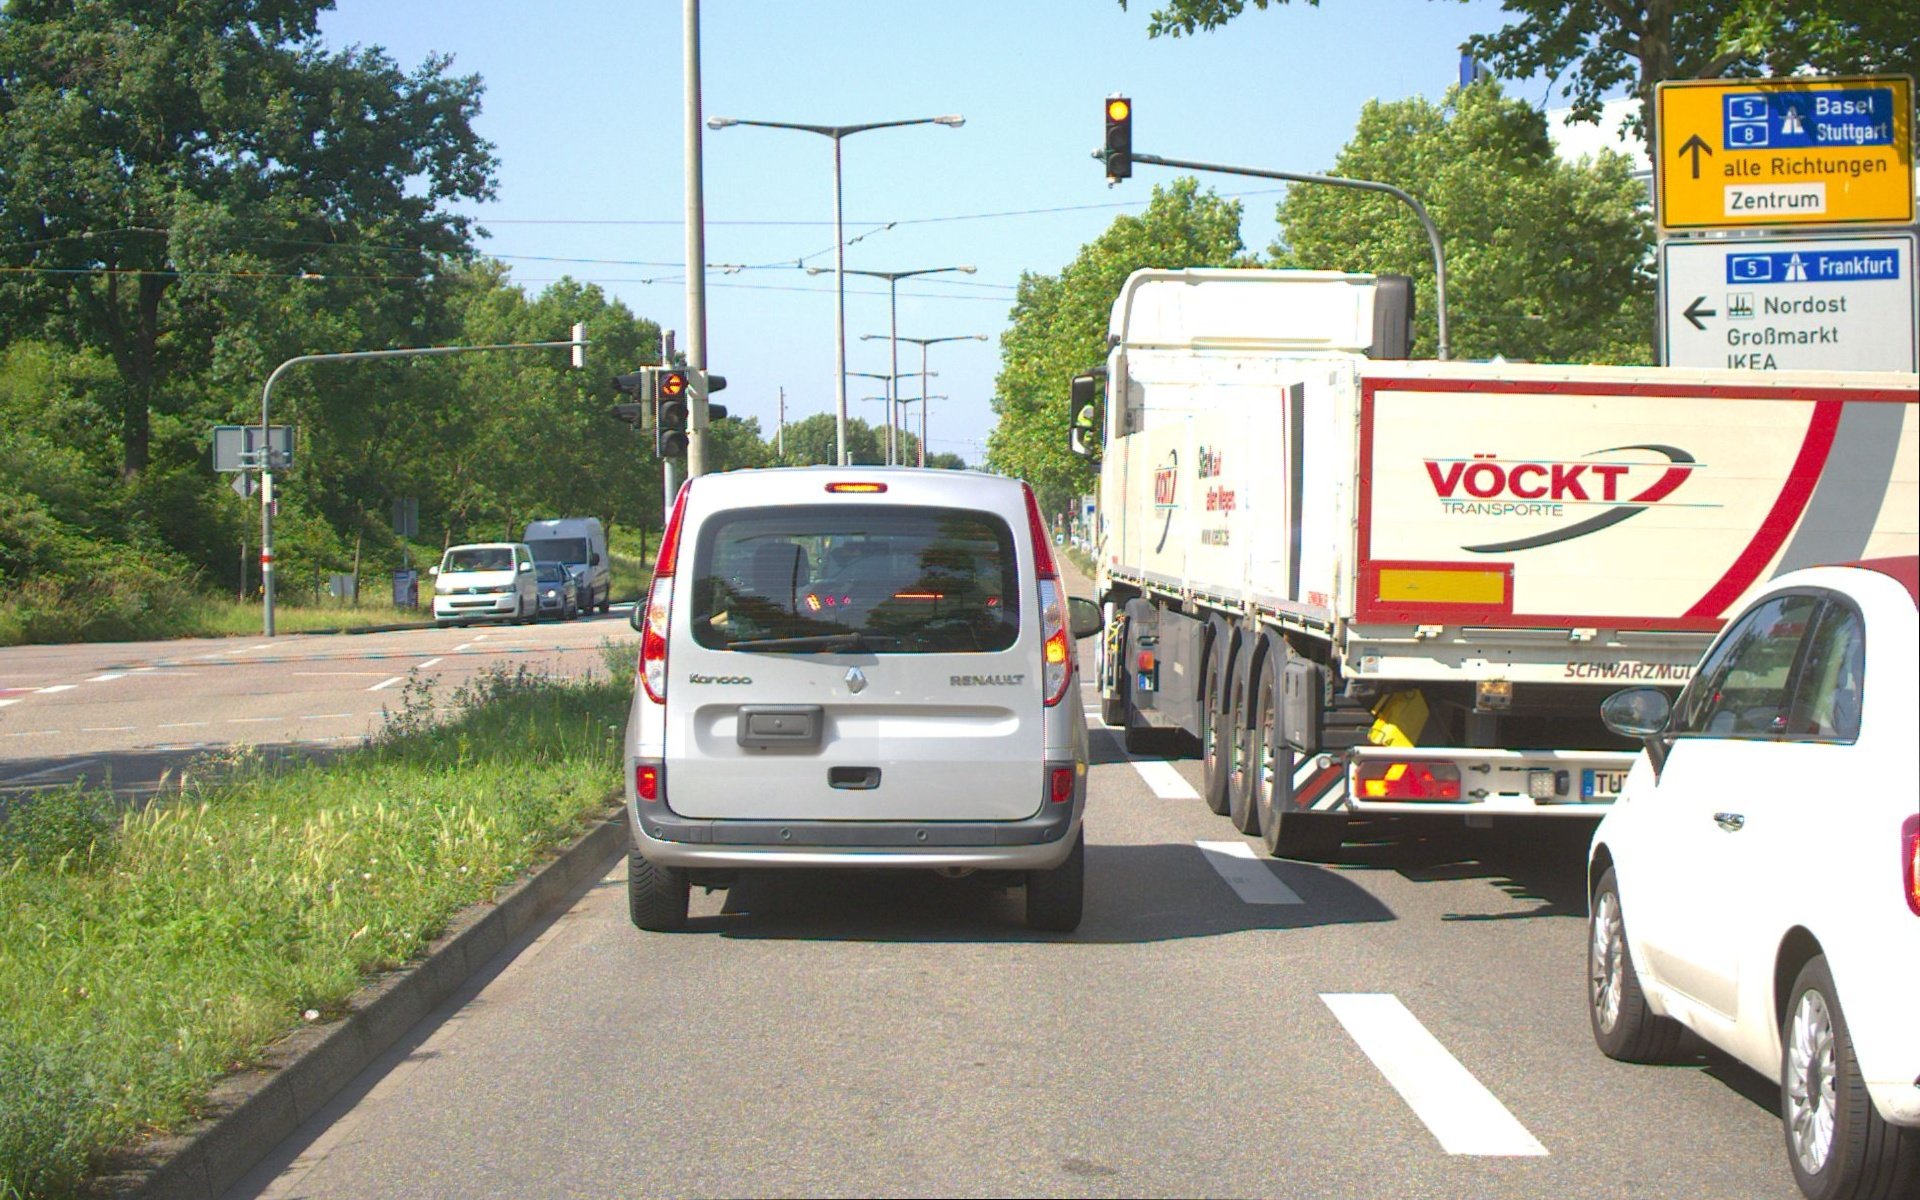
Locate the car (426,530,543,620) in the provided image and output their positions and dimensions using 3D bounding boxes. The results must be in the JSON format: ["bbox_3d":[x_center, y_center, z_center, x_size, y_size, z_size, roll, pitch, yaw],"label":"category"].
[{"bbox_3d":[-10.685,-0.582,77.549,1.993,1.884,4.988,-3,1,-1],"label":"car"}]

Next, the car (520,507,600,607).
[{"bbox_3d":[-10.807,-1.175,92.955,2.058,2.605,5.871,0,1,-7],"label":"car"}]

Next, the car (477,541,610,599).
[{"bbox_3d":[-10.399,-0.764,85.605,1.911,1.404,4.228,0,1,-27],"label":"car"}]

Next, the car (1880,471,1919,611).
[{"bbox_3d":[13.258,-0.688,41.317,3.987,1.656,1.723,0,1,5],"label":"car"}]

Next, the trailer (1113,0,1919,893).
[{"bbox_3d":[2.694,-0.818,19.371,3.016,3.728,12.240,0,1,0],"label":"trailer"}]

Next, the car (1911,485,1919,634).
[{"bbox_3d":[12.618,-0.428,37.624,3.987,1.656,1.723,0,1,5],"label":"car"}]

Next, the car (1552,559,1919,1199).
[{"bbox_3d":[2.658,0.615,8.942,1.661,1.431,3.520,0,1,1],"label":"car"}]

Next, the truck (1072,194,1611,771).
[{"bbox_3d":[2.618,-0.810,26.201,3.071,3.745,7.477,0,1,-1],"label":"truck"}]

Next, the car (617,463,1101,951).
[{"bbox_3d":[-0.399,0.364,14.481,1.749,1.766,3.949,0,1,-1],"label":"car"}]
